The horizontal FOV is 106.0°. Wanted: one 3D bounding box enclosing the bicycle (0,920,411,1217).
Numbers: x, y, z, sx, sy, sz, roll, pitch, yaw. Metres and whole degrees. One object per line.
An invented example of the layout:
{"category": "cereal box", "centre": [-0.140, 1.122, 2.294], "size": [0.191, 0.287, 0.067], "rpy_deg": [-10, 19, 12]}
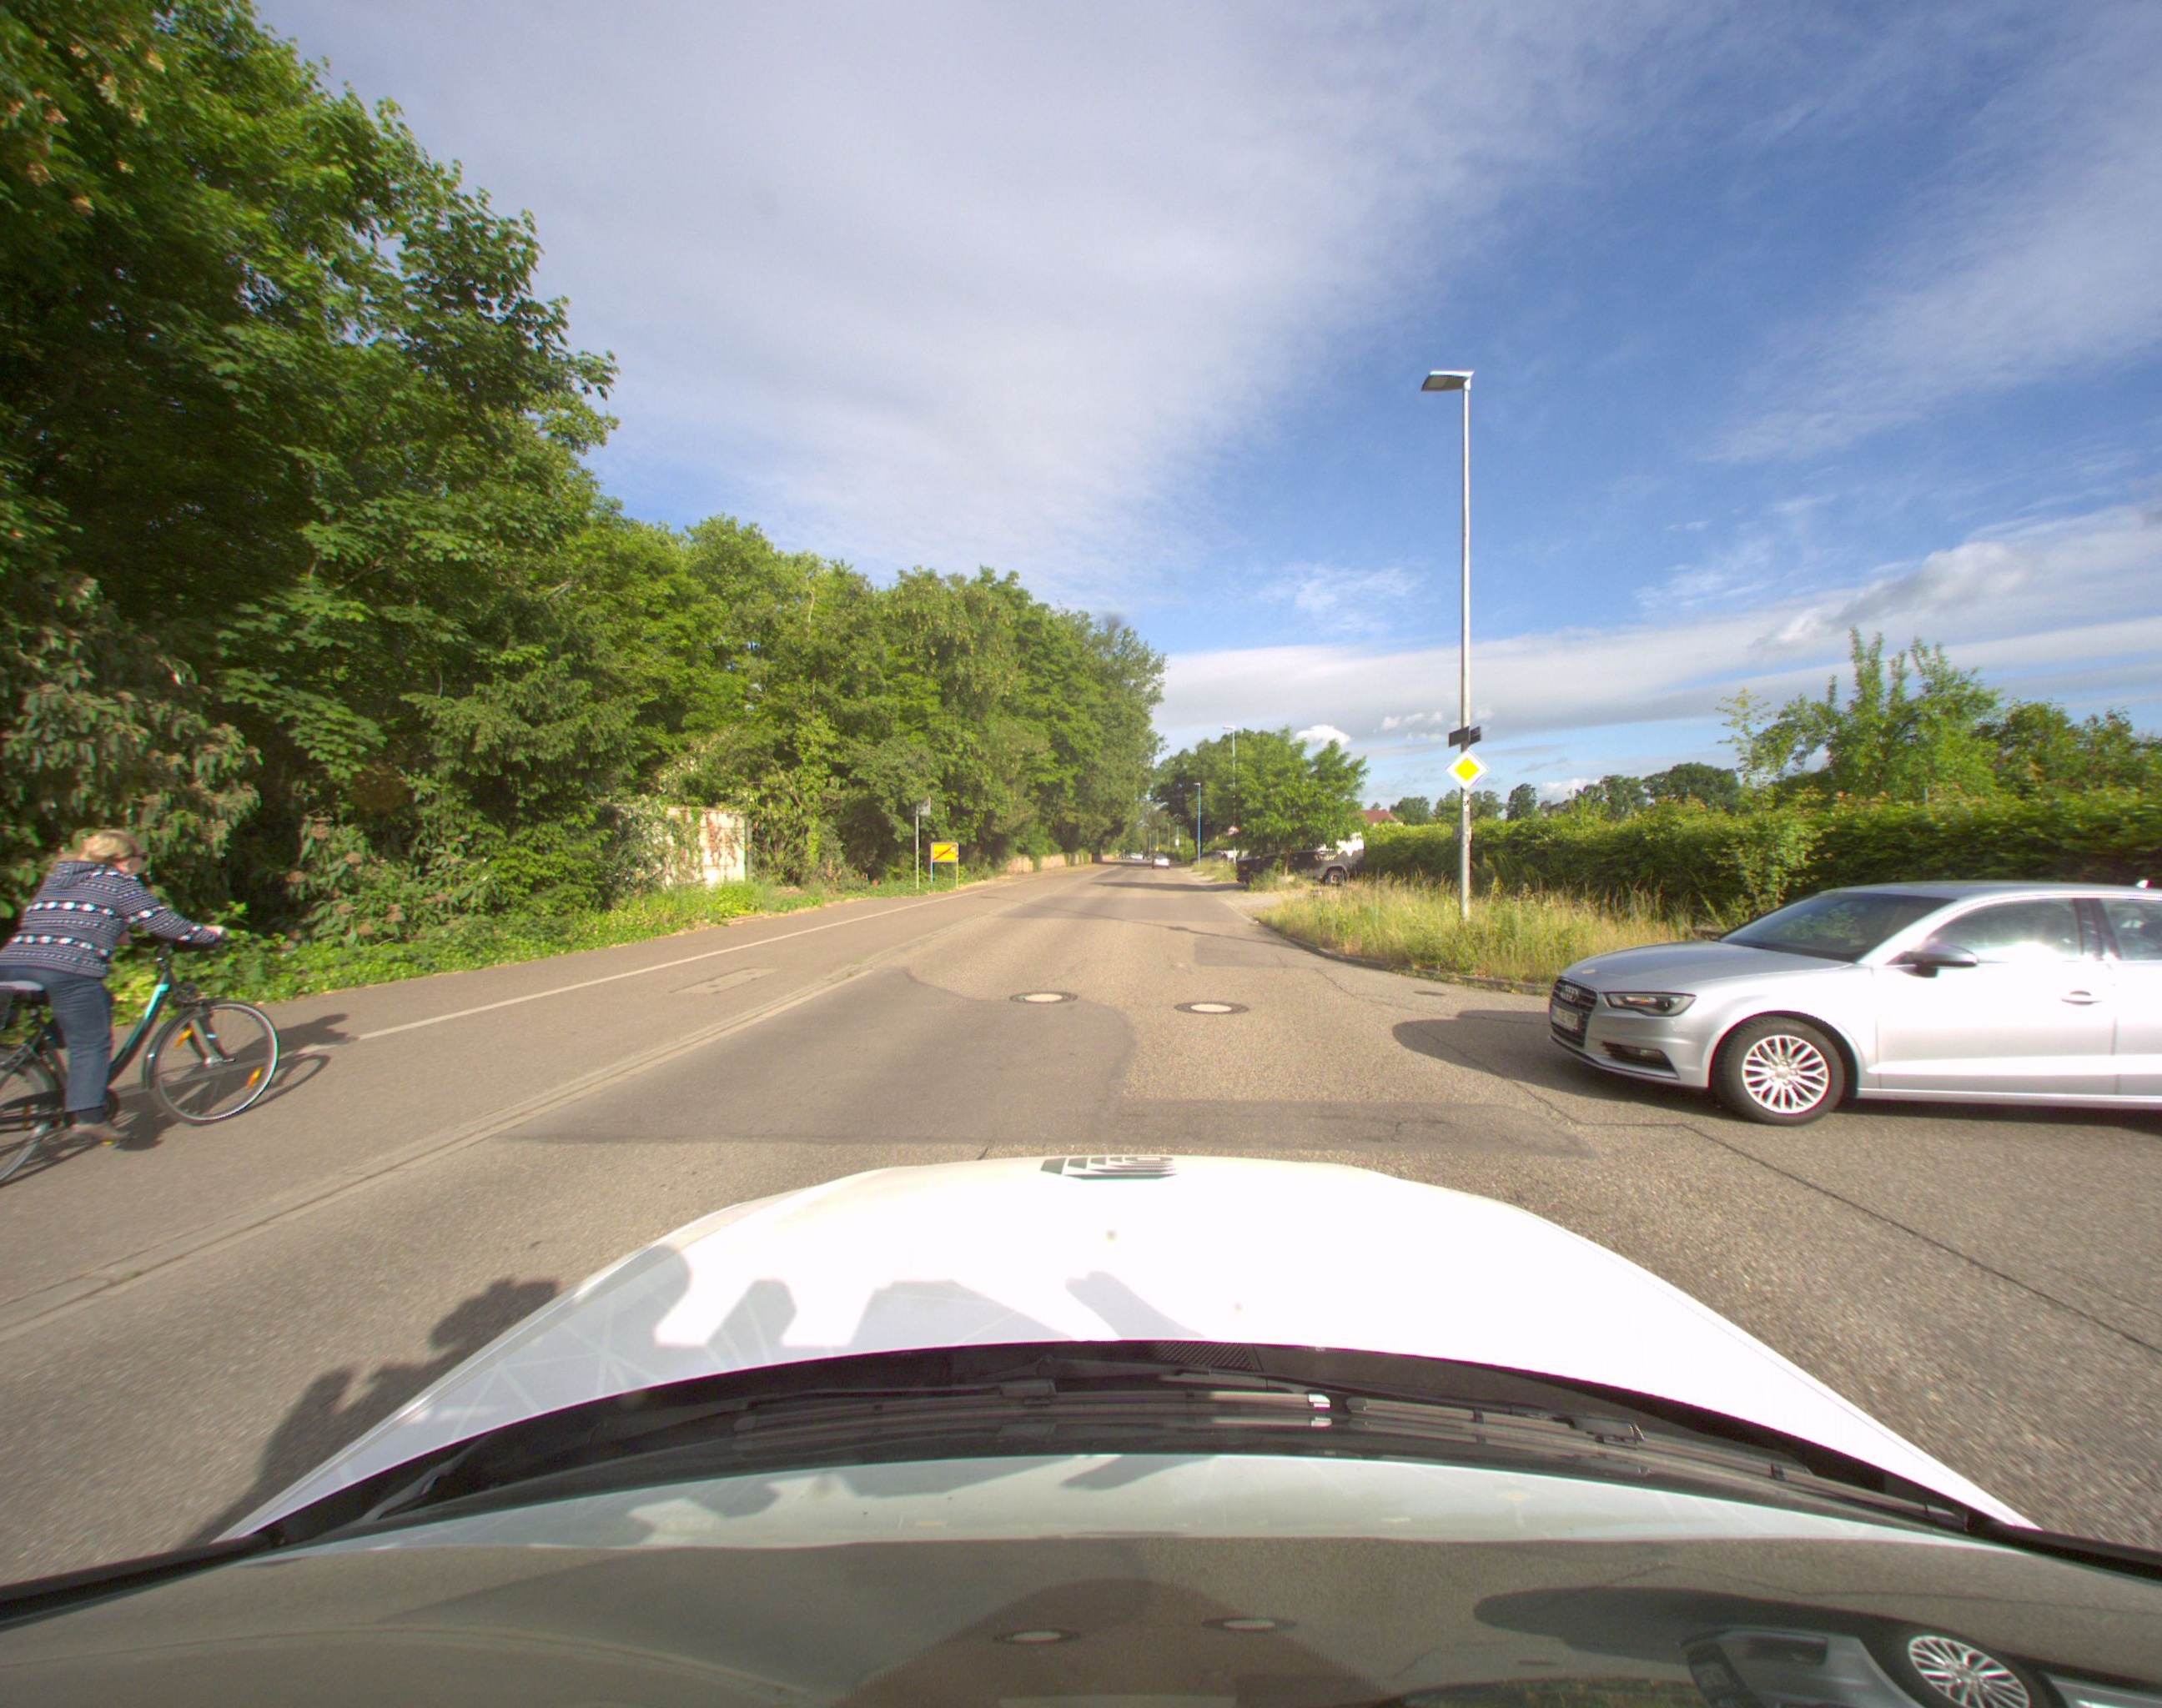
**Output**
{"category": "bicycle", "centre": [-4.997, 1.028, 4.376], "size": [0.659, 1.097, 2.352], "rpy_deg": [2, 1, 6]}

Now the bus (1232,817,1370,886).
{"category": "bus", "centre": [9.305, -0.126, 34.823], "size": [5.344, 2.746, 2.070], "rpy_deg": [-2, 1, 2]}

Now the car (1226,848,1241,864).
{"category": "car", "centre": [17.647, 0.214, 94.295], "size": [1.341, 1.632, 4.129], "rpy_deg": [-3, 0, 15]}

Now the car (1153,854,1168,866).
{"category": "car", "centre": [10.358, 0.747, 106.758], "size": [1.878, 1.465, 4.059], "rpy_deg": [0, 1, 4]}

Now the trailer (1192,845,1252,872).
{"category": "trailer", "centre": [10.086, 0.326, 58.352], "size": [4.127, 1.835, 1.921], "rpy_deg": [-1, 0, 9]}

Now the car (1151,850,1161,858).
{"category": "car", "centre": [14.821, -0.009, 161.887], "size": [1.878, 1.613, 4.059], "rpy_deg": [0, 0, 4]}

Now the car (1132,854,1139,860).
{"category": "car", "centre": [15.198, 0.948, 228.222], "size": [1.878, 1.613, 4.059], "rpy_deg": [0, 0, 4]}

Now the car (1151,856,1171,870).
{"category": "car", "centre": [7.984, 0.883, 81.753], "size": [1.878, 1.372, 4.059], "rpy_deg": [0, 1, 4]}

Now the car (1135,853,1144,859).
{"category": "car", "centre": [14.176, 0.490, 197.625], "size": [1.879, 1.372, 4.058], "rpy_deg": [0, 1, 3]}

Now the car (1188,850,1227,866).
{"category": "car", "centre": [14.944, 0.457, 96.448], "size": [4.381, 1.646, 2.003], "rpy_deg": [-3, 0, 5]}

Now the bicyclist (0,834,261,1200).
{"category": "bicyclist", "centre": [-5.008, 0.742, 4.208], "size": [0.606, 1.676, 0.885], "rpy_deg": [1, 1, 5]}

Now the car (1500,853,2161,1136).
{"category": "car", "centre": [5.386, 0.764, 5.324], "size": [4.334, 1.443, 1.939], "rpy_deg": [-1, 0, 11]}

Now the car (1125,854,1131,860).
{"category": "car", "centre": [14.824, 0.967, 255.177], "size": [1.878, 1.613, 4.059], "rpy_deg": [0, 0, 4]}
